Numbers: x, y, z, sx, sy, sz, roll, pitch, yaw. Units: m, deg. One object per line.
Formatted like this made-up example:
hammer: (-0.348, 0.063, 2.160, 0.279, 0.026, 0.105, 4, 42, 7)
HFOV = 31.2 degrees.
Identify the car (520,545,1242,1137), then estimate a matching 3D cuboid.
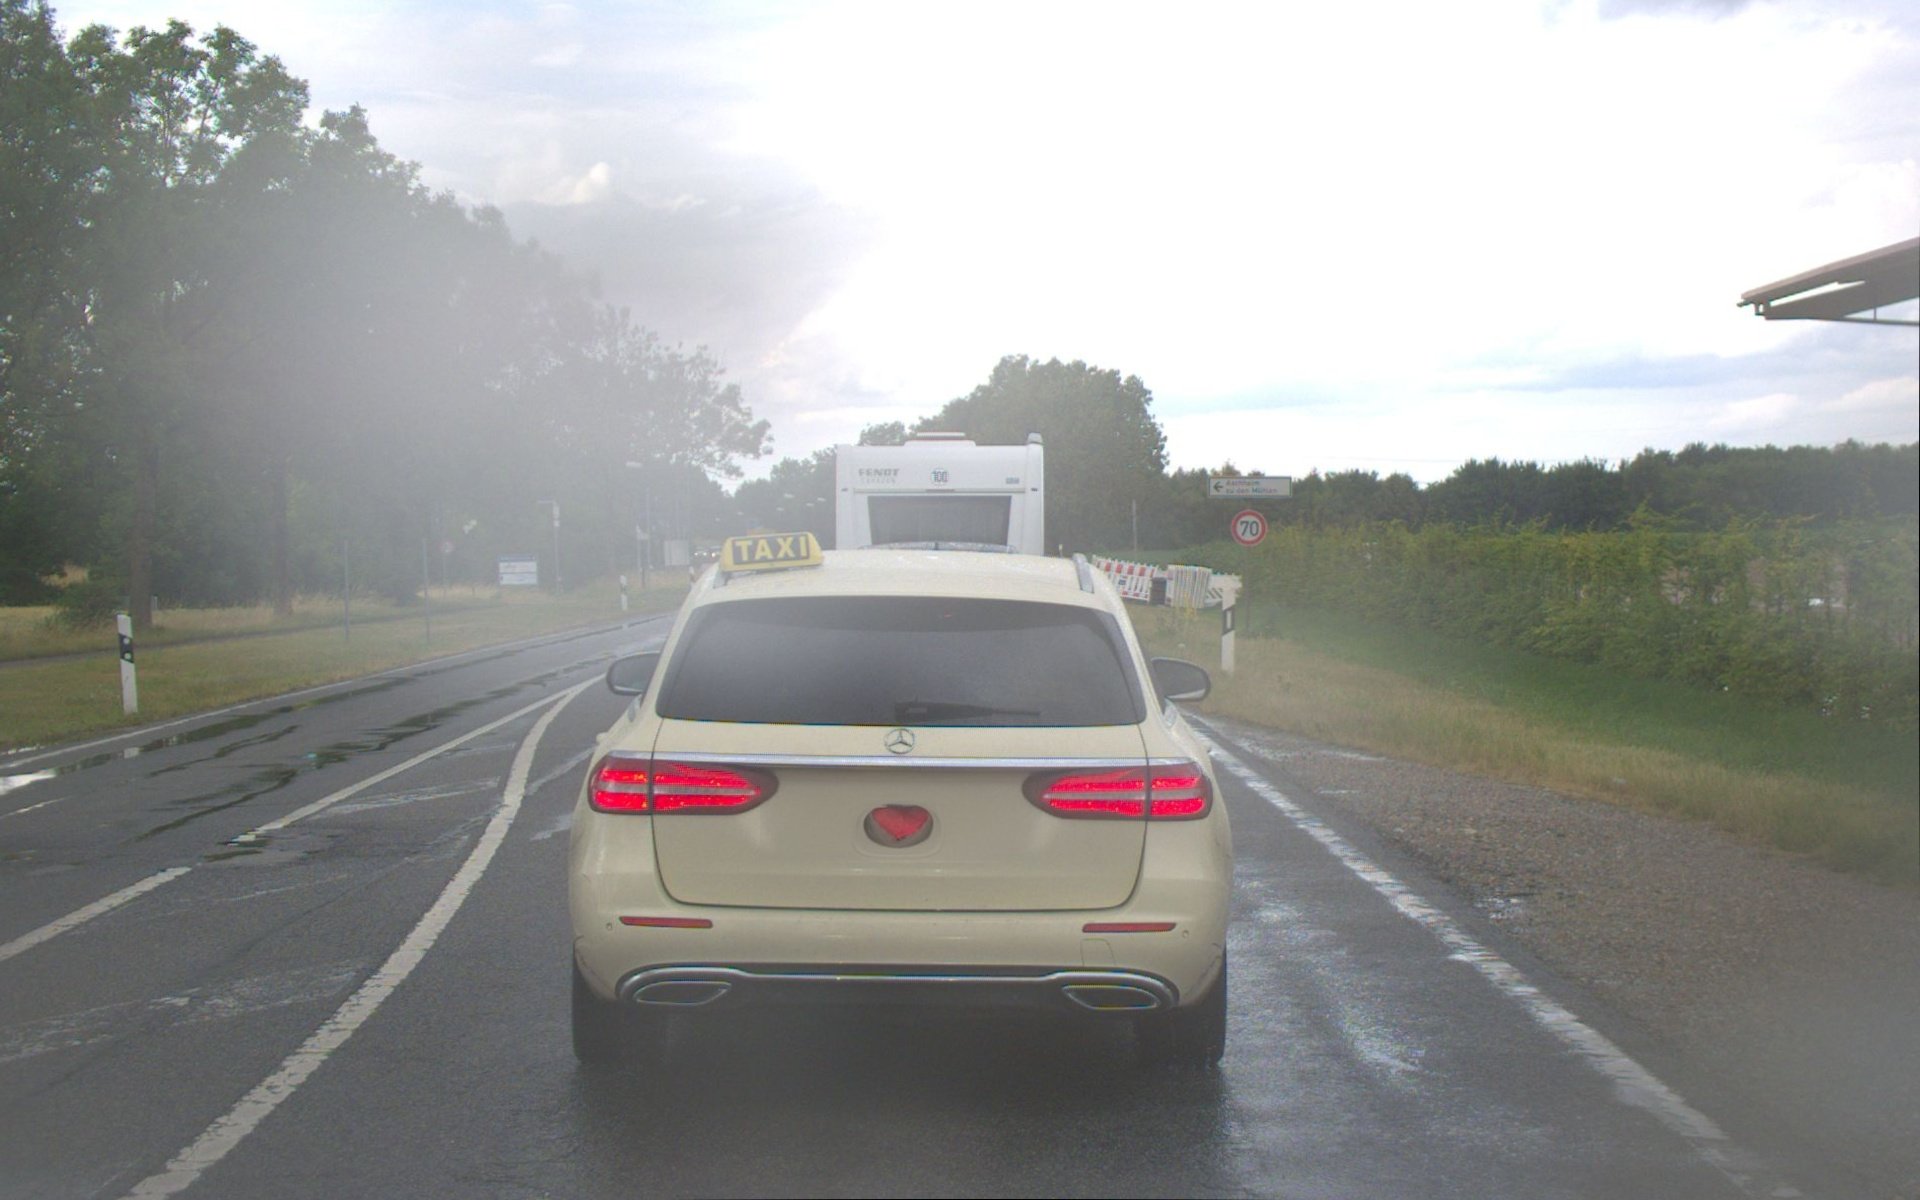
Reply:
car: (-0.197, 0.570, 10.613, 1.797, 1.459, 4.031, 0, 1, 0)

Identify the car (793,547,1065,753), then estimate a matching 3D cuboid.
car: (-0.228, 0.316, 25.900, 1.894, 1.424, 3.928, 0, 1, 0)

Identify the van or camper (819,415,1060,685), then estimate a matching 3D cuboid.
van or camper: (-0.193, -0.585, 39.932, 2.497, 2.821, 5.934, -2, 1, 1)
